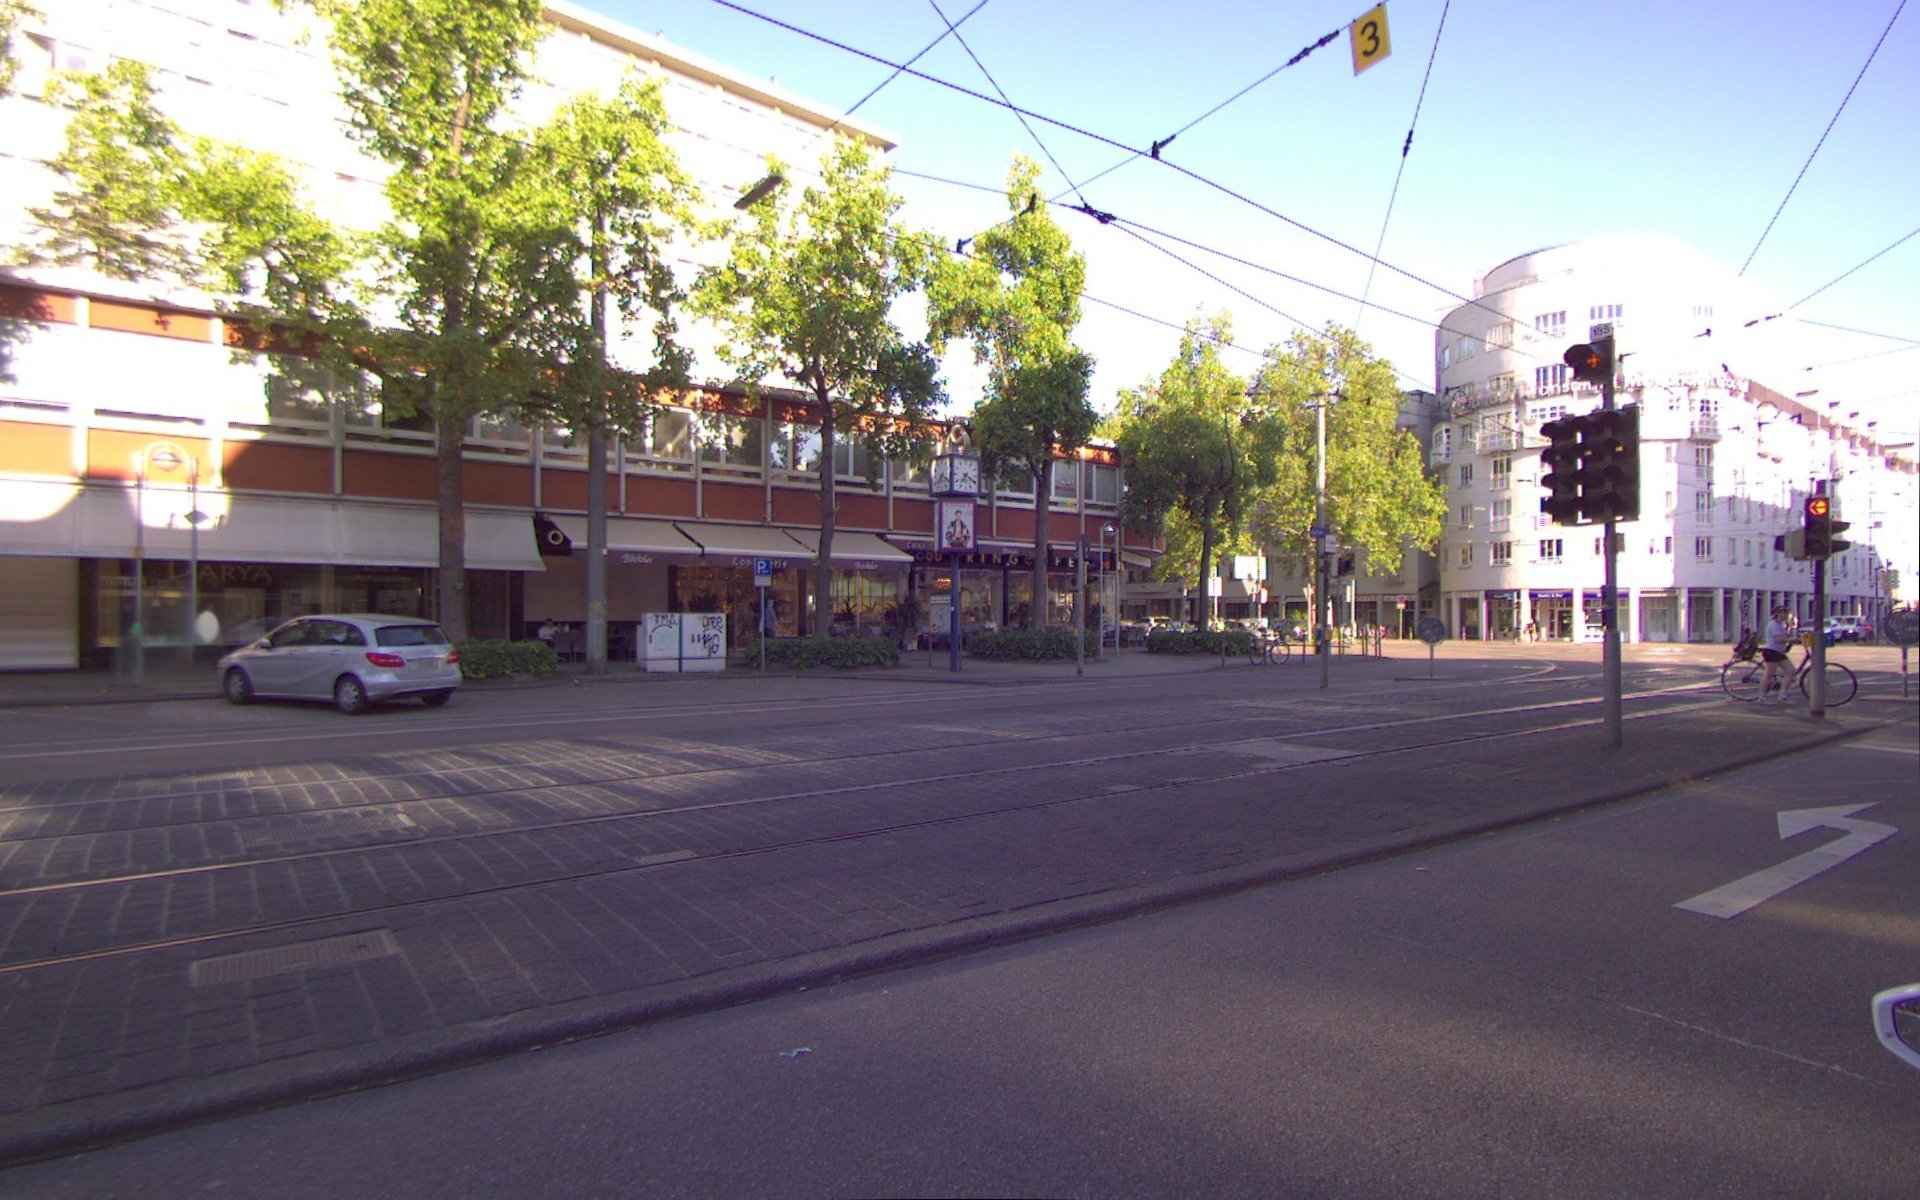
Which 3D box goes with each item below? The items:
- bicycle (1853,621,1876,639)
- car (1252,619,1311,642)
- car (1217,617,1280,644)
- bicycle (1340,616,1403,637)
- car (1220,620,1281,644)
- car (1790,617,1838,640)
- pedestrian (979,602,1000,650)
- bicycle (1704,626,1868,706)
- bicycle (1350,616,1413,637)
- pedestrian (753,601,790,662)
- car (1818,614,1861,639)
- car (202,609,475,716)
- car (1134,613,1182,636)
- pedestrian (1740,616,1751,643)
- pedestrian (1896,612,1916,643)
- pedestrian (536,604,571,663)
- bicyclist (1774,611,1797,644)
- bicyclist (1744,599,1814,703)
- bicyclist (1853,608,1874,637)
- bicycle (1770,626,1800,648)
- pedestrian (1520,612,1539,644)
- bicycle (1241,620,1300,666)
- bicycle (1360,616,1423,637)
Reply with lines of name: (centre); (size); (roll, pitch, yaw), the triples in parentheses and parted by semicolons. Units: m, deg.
bicycle: (58.647, 1.954, 65.122); (1.992, 1.162, 0.802); (1, -1, -38)
car: (22.798, 2.127, 71.386); (1.598, 1.551, 3.966); (0, -1, -32)
car: (18.029, 1.893, 62.849); (1.608, 1.579, 3.994); (0, -1, -24)
bicycle: (31.223, 2.026, 76.296); (1.055, 1.550, 4.676); (0, -1, -33)
car: (16.593, 1.810, 57.532); (1.740, 1.312, 4.009); (0, -1, -11)
car: (57.489, 1.906, 67.629); (3.428, 1.566, 1.753); (1, -1, -37)
pedestrian: (1.106, 0.959, 37.531); (0.590, 1.745, 0.646); (0, 1, -18)
bicycle: (13.638, 1.054, 16.648); (0.623, 1.193, 2.002); (1, 0, -39)
bicycle: (32.213, 2.025, 76.844); (1.055, 1.550, 4.676); (0, -1, -33)
pedestrian: (-5.528, 0.900, 29.439); (0.867, 1.745, 0.698); (-1, 1, -38)
car: (63.223, 1.916, 72.191); (3.532, 1.741, 1.688); (1, -1, -38)
car: (-10.647, 0.992, 17.233); (4.197, 1.587, 1.827); (1, 0, 22)
car: (17.245, 2.109, 87.455); (3.960, 1.990, 1.980); (1, -1, -35)
pedestrian: (50.807, 1.898, 64.961); (0.483, 1.704, 0.519); (1, -1, -44)
pedestrian: (55.126, 1.604, 58.528); (0.567, 1.753, 0.763); (1, -1, -35)
pedestrian: (-11.102, 0.912, 27.433); (0.700, 1.584, 0.866); (1, -1, -38)
bicyclist: (43.939, 1.445, 53.453); (0.787, 1.749, 0.802); (1, -1, -37)
bicyclist: (13.382, 0.813, 16.406); (0.759, 1.648, 0.724); (1, 0, -39)
bicyclist: (58.468, 1.450, 65.000); (0.984, 1.845, 0.802); (1, -1, -37)
bicycle: (43.823, 1.955, 53.358); (2.031, 1.162, 0.801); (1, -1, -38)
pedestrian: (35.732, 1.749, 63.016); (0.929, 2.040, 0.939); (0, -1, 25)
bicycle: (9.522, 1.301, 30.785); (1.887, 1.345, 0.666); (1, 2, -35)
bicycle: (33.333, 2.053, 77.706); (1.055, 1.550, 4.676); (0, -1, -33)
